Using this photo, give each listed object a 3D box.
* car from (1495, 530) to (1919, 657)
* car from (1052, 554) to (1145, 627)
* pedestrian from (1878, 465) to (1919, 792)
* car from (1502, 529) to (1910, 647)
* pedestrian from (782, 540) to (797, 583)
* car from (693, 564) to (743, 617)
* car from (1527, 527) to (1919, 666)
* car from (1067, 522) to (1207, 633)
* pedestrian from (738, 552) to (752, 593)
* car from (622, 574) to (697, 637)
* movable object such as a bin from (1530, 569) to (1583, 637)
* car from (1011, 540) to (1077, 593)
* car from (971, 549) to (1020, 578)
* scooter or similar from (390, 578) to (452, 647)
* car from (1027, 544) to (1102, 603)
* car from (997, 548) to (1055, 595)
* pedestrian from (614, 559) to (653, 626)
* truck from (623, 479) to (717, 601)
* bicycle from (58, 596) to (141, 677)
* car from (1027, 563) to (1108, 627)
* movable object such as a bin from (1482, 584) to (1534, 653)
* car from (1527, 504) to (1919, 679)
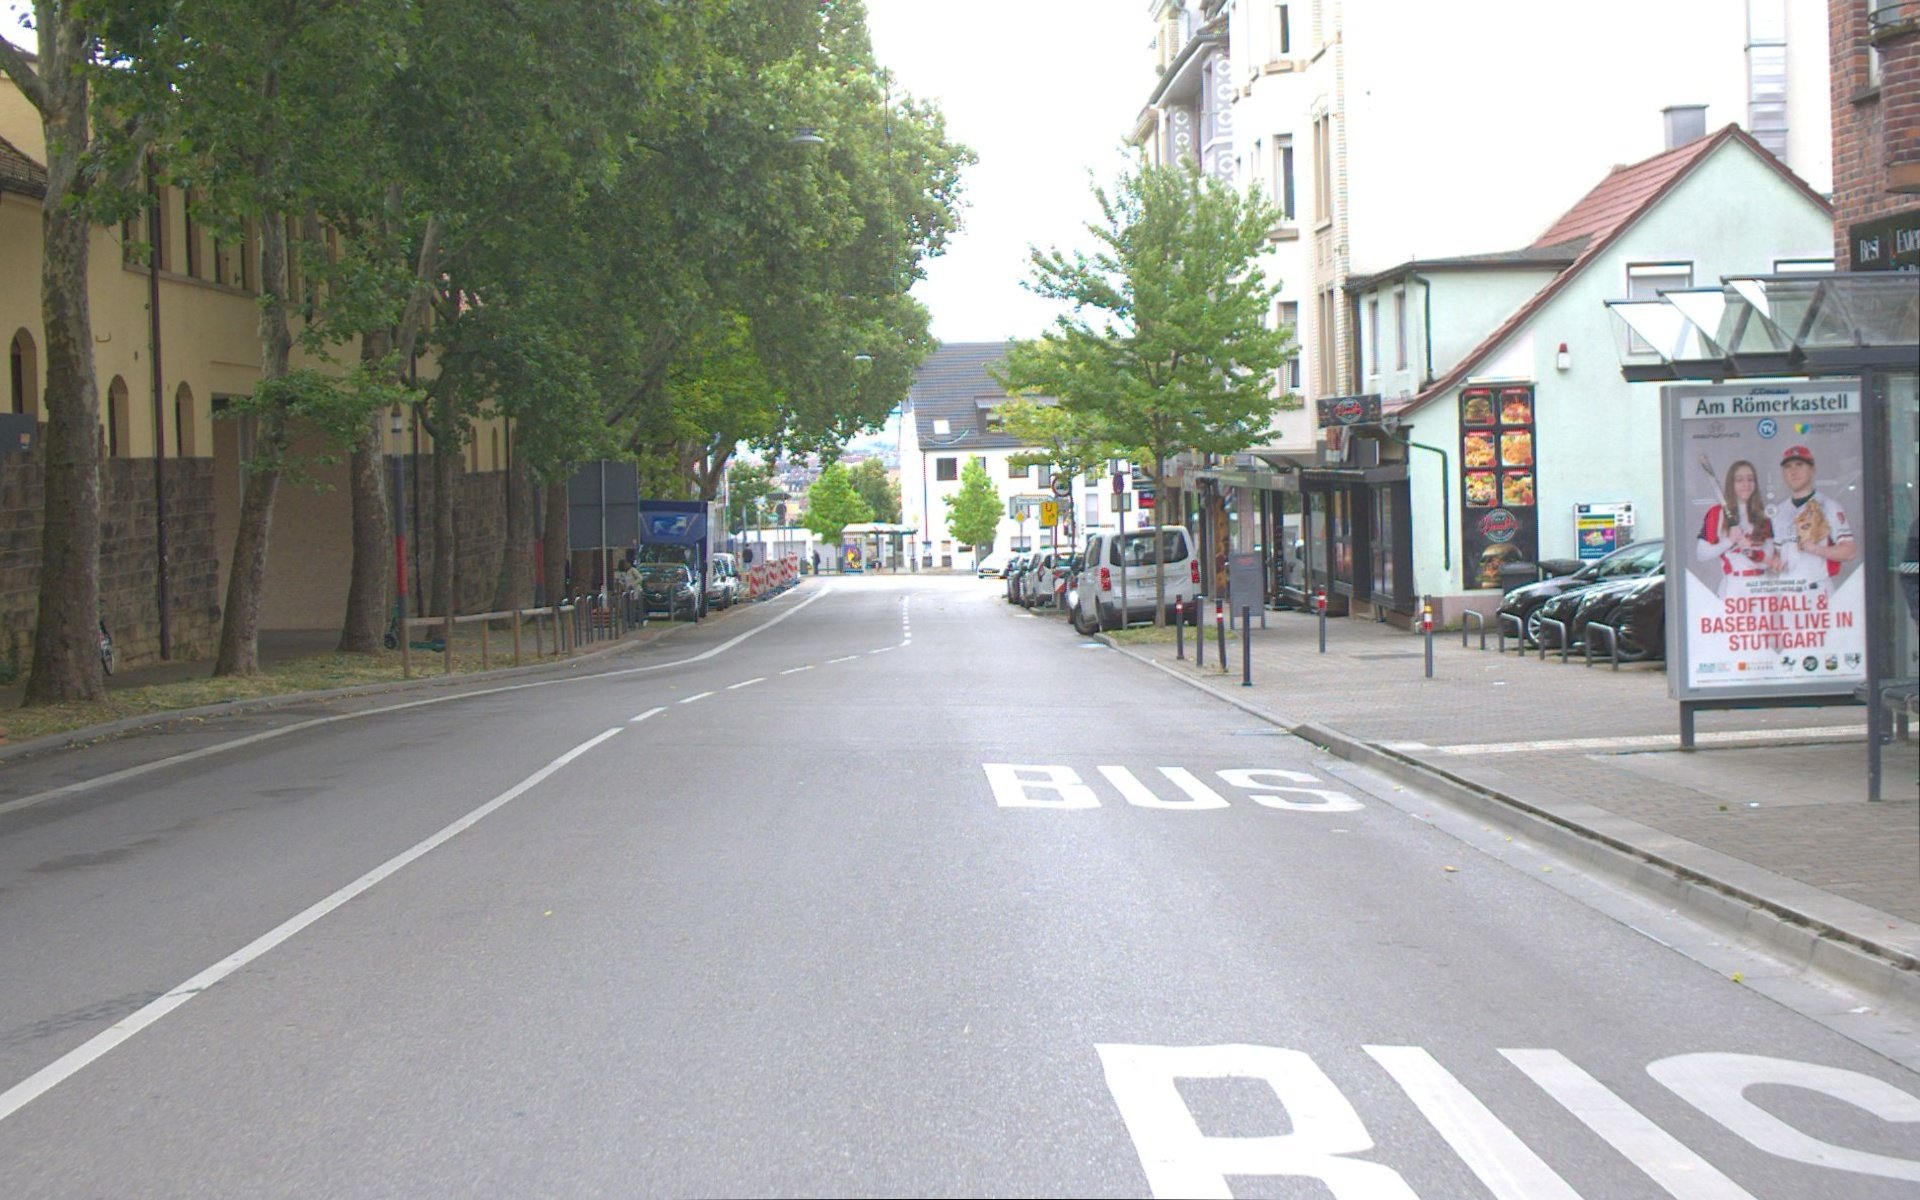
[{"bbox_3d":[9.294,-0.077,42.666,4.909,1.488,1.853,-1,1,25],"label":"car"},{"bbox_3d":[3.063,-0.229,76.820,1.668,1.542,3.757,-1,1,-4],"label":"car"},{"bbox_3d":[5.349,0.140,18.444,0.670,1.722,0.763,-1,1,5],"label":"pedestrian"},{"bbox_3d":[9.783,-0.153,45.133,4.909,1.464,1.926,-1,1,26],"label":"car"},{"bbox_3d":[-8.062,-1.814,162.826,0.633,2.007,0.784,-1,1,1],"label":"pedestrian"},{"bbox_3d":[-7.811,-0.328,111.141,1.533,1.633,3.719,-1,1,-4],"label":"car"},{"bbox_3d":[9.285,-0.040,39.950,4.910,1.535,1.997,-1,1,28],"label":"car"},{"bbox_3d":[3.220,-0.432,63.488,1.993,1.929,4.919,-1,1,-4],"label":"car"},{"bbox_3d":[-10.583,-1.368,169.239,0.633,1.988,0.784,-1,1,1],"label":"pedestrian"},{"bbox_3d":[-7.863,0.124,90.204,1.834,1.572,3.757,-1,1,-4],"label":"car"},{"bbox_3d":[9.231,0.040,53.236,0.698,1.038,0.645,-1,1,1],"label":"movable object such as a bin"},{"bbox_3d":[2.527,-1.021,104.335,1.668,1.542,3.757,-1,1,-4],"label":"car"},{"bbox_3d":[1.929,-1.973,185.795,1.865,1.484,3.877,-1,1,13],"label":"car"},{"bbox_3d":[-9.462,0.222,60.341,1.028,1.180,0.491,-1,1,-10],"label":"scooter or similar"},{"bbox_3d":[2.831,-0.733,93.414,1.668,1.542,3.757,-1,1,-4],"label":"car"},{"bbox_3d":[2.232,-0.975,117.082,1.668,1.542,3.757,-1,1,-4],"label":"car"},{"bbox_3d":[-7.541,-0.182,79.405,0.672,1.531,0.611,-2,1,-35],"label":"pedestrian"},{"bbox_3d":[-8.349,-1.728,99.498,2.231,3.335,7.450,-1,1,-2],"label":"truck"},{"bbox_3d":[-12.250,0.506,49.005,0.596,1.087,2.195,1,1,1],"label":"bicycle"},{"bbox_3d":[2.688,-0.151,86.846,1.668,1.542,3.757,-1,1,-4],"label":"car"},{"bbox_3d":[8.475,0.281,53.193,0.698,1.038,0.645,-1,1,1],"label":"movable object such as a bin"},{"bbox_3d":[8.883,-0.117,37.389,4.909,1.667,1.997,-3,0,27],"label":"car"}]
